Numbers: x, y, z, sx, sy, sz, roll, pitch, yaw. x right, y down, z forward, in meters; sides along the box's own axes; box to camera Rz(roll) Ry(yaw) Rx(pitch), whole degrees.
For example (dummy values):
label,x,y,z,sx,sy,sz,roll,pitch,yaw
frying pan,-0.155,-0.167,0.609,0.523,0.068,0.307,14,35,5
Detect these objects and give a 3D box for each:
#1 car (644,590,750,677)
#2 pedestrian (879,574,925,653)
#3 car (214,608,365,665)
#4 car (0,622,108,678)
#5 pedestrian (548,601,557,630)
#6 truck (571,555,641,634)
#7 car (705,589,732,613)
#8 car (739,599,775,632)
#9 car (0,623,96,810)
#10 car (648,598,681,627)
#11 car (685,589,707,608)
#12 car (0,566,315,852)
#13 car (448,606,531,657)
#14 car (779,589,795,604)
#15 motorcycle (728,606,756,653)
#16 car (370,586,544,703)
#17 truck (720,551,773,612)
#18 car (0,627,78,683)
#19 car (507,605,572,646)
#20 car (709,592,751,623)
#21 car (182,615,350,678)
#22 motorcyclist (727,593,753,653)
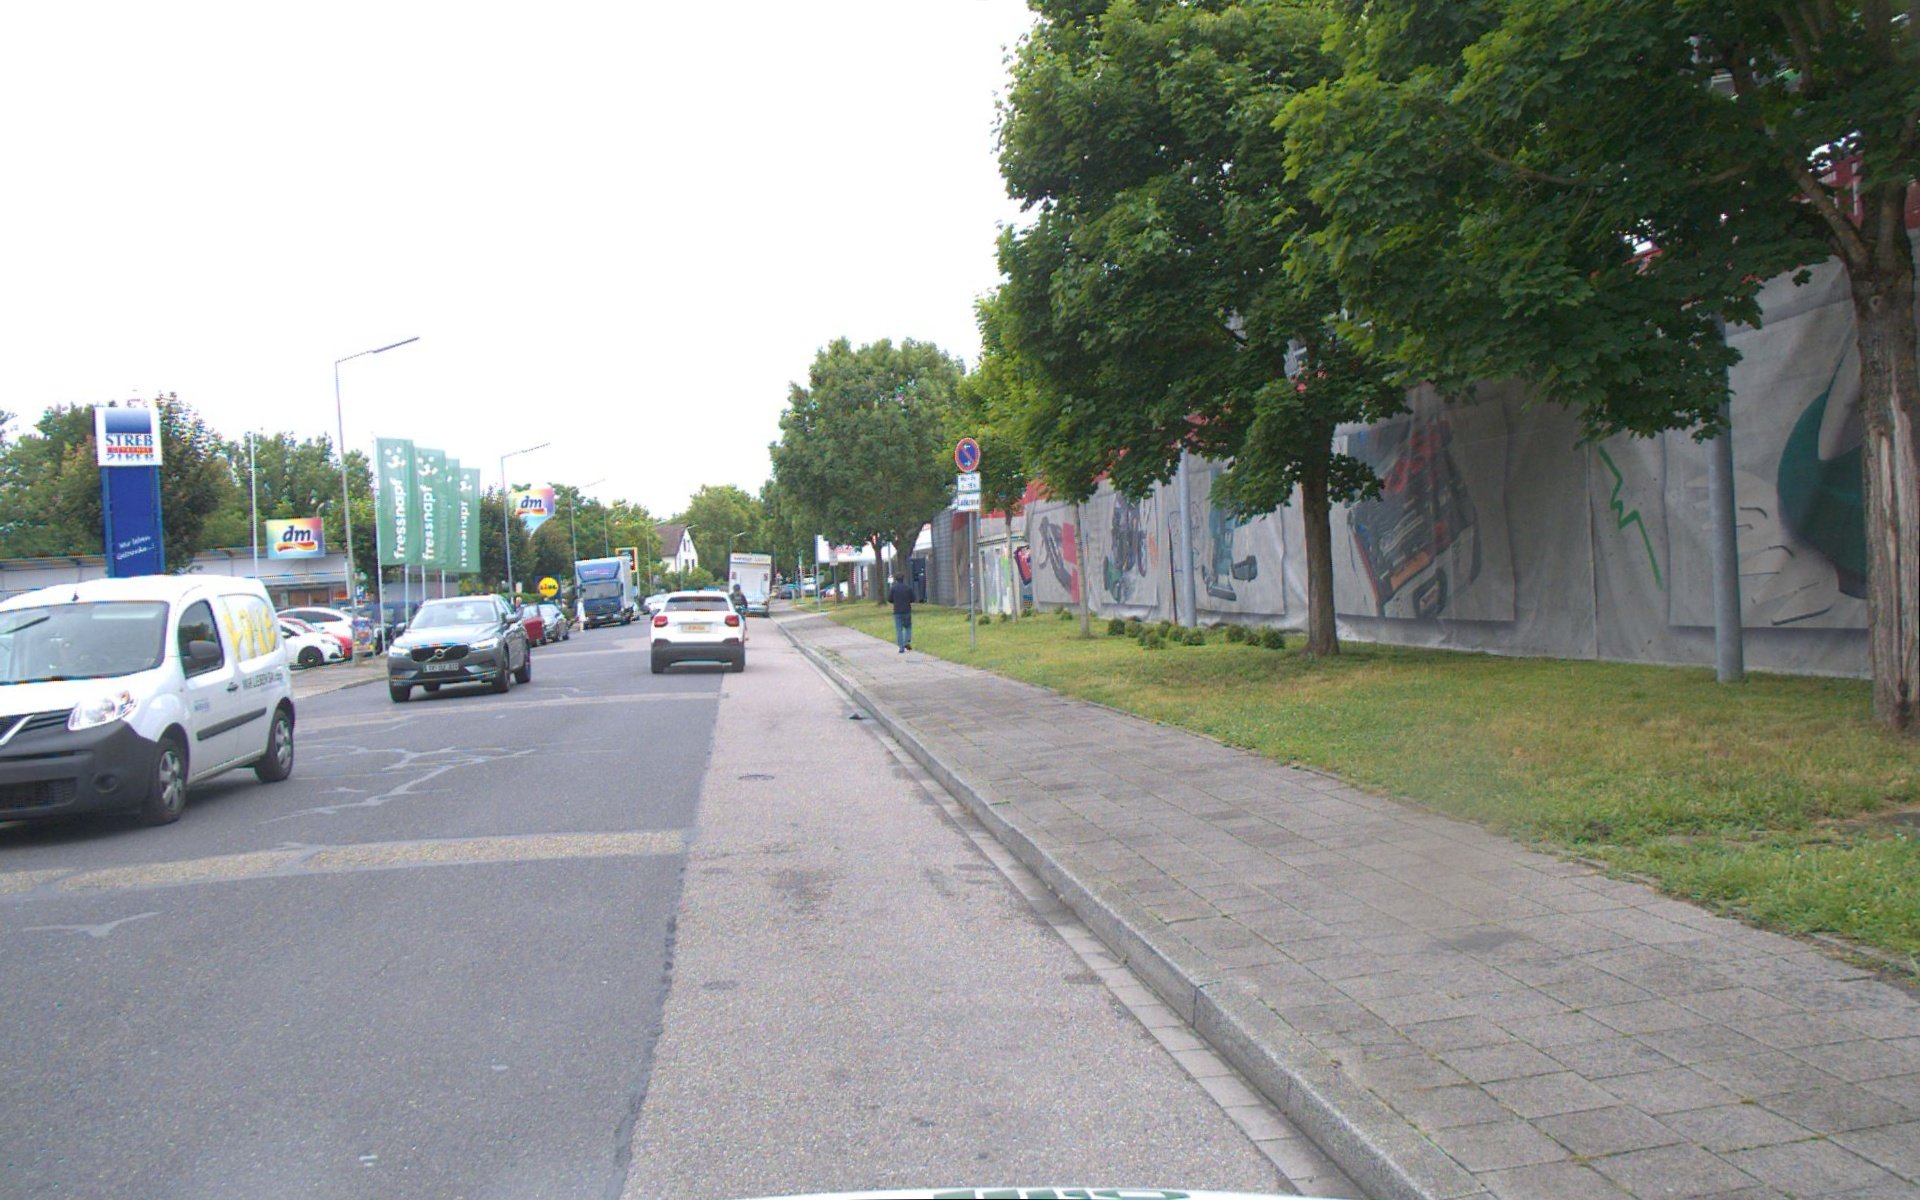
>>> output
label,x,y,z,sx,sy,sz,roll,pitch,yaw
car,-5.113,0.598,32.632,1.850,1.558,4.248,-1,0,-7
pedestrian,-1.259,0.285,35.635,0.901,1.663,0.851,-2,0,-6
car,-21.102,1.136,52.184,4.065,1.488,1.892,-4,1,-13
car,-31.753,1.730,56.835,3.912,1.698,1.873,-4,1,-8
pedestrian,-22.651,0.871,92.029,0.395,1.558,0.484,-3,0,-14
truck,-19.443,-0.318,91.227,2.918,4.024,6.395,-4,1,-7
car,-18.442,0.065,126.215,1.836,1.690,3.992,-4,1,-9
car,-12.010,0.892,97.657,1.957,1.837,3.992,-2,0,-9
car,-9.117,1.126,13.715,1.912,1.552,4.395,-7,1,-8
car,-17.400,0.715,97.542,1.569,1.554,3.522,-5,0,-7
car,-25.145,-0.152,157.557,1.957,1.713,3.992,-2,0,-9
car,-6.511,0.730,12.791,1.658,1.791,4.129,-5,1,-6
car,-14.893,0.968,52.529,1.862,1.391,3.994,-3,1,-7
car,-21.030,-0.441,201.079,1.850,1.713,4.248,-1,0,-7
motorcycle,-5.953,0.788,45.264,0.628,1.199,2.111,-3,1,-5
car,-8.595,0.692,28.679,1.896,1.713,4.490,-4,1,-5
truck,-13.812,-1.110,106.337,3.077,3.647,10.030,-2,0,-9
car,-31.590,1.869,54.546,3.912,1.698,1.873,-4,1,-8
car,-16.194,0.949,63.818,1.862,1.391,3.994,-3,1,-7
car,-11.346,0.346,81.513,1.902,1.390,3.993,-4,1,-8
car,-19.846,1.306,47.507,4.135,1.488,1.945,-4,0,-16
motorcyclist,-6.032,0.628,45.360,0.613,1.581,0.603,-3,0,-6
